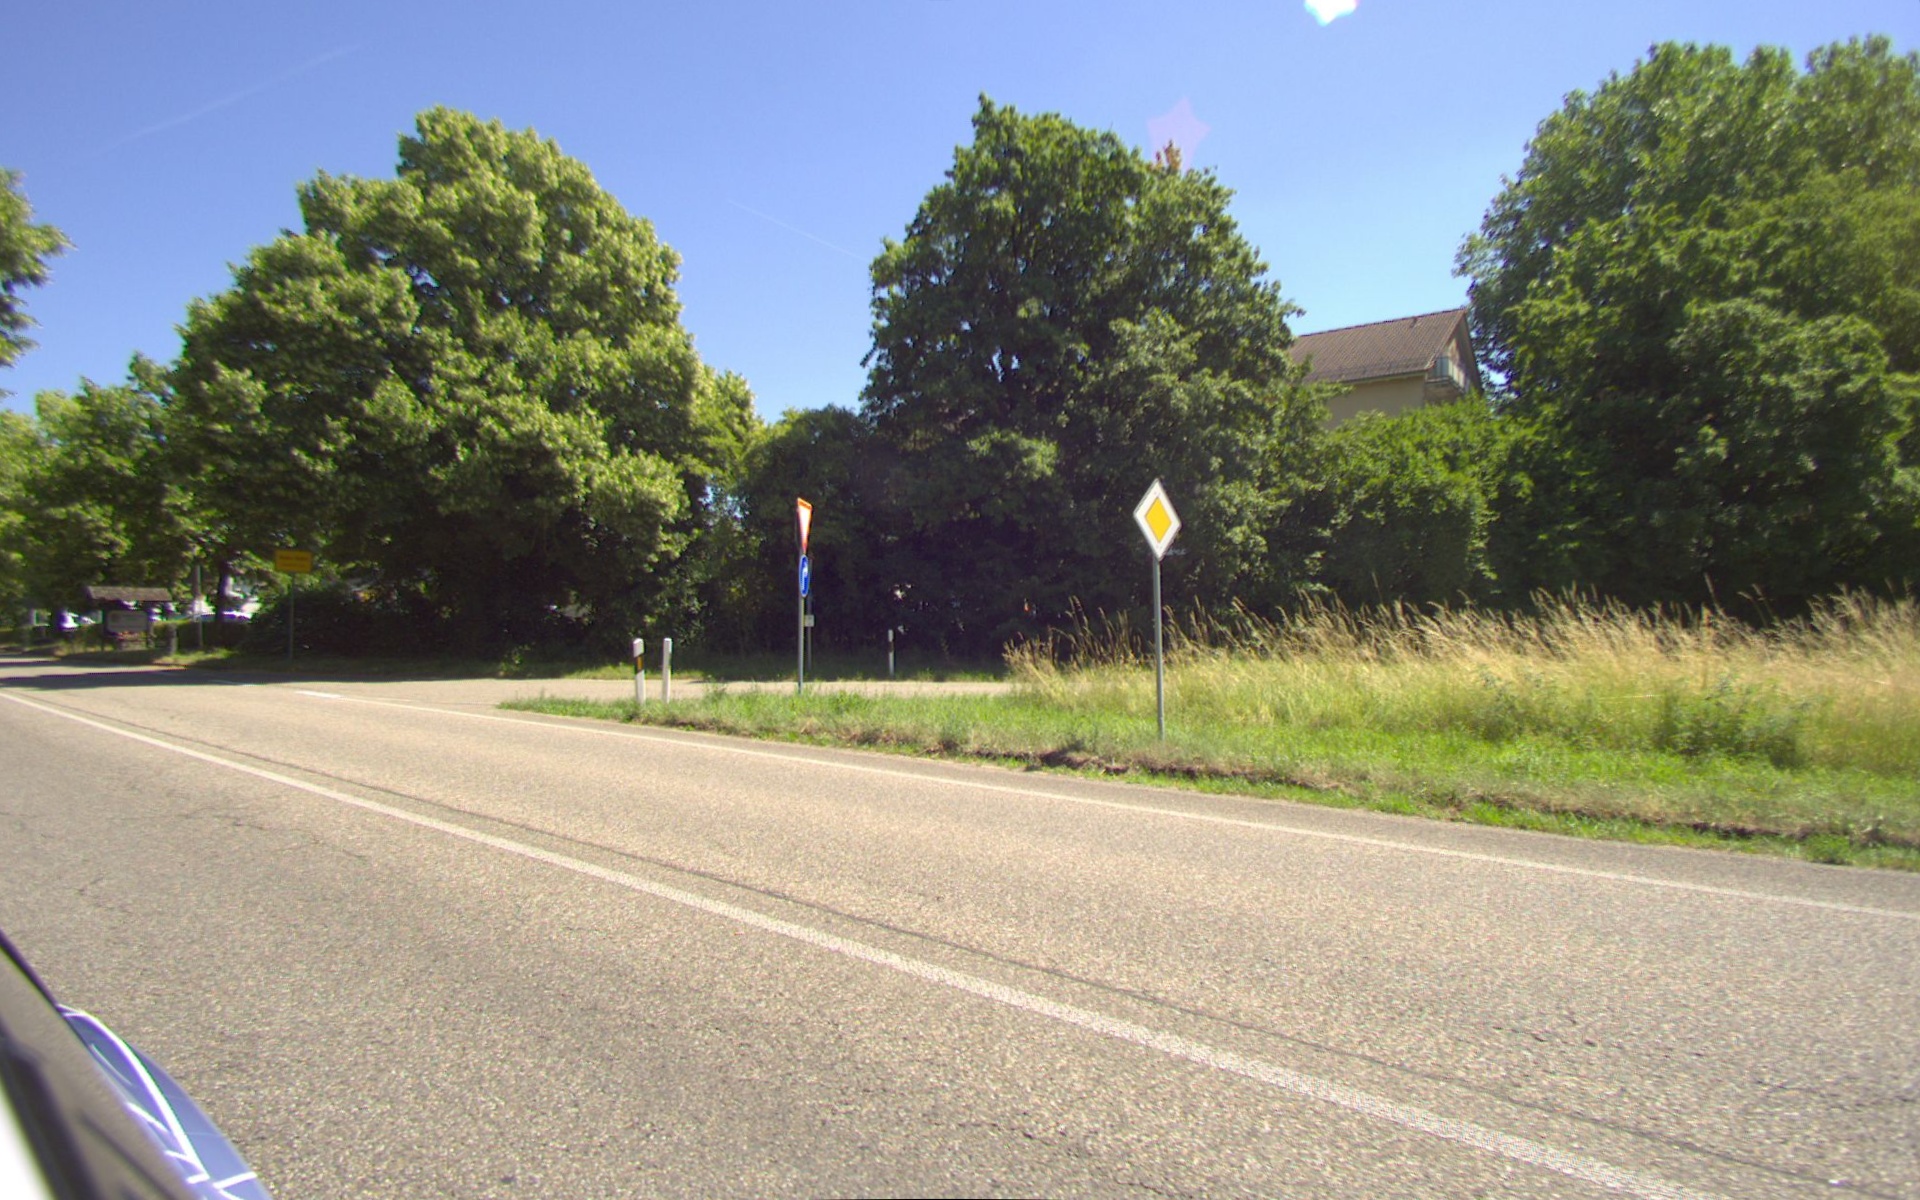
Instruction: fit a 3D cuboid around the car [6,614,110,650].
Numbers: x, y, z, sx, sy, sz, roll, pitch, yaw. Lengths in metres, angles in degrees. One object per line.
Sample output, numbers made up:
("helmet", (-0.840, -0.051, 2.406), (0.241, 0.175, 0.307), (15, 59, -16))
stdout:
("car", (-53.172, 1.848, 59.716), (1.901, 1.995, 4.318), (0, 0, 35))
